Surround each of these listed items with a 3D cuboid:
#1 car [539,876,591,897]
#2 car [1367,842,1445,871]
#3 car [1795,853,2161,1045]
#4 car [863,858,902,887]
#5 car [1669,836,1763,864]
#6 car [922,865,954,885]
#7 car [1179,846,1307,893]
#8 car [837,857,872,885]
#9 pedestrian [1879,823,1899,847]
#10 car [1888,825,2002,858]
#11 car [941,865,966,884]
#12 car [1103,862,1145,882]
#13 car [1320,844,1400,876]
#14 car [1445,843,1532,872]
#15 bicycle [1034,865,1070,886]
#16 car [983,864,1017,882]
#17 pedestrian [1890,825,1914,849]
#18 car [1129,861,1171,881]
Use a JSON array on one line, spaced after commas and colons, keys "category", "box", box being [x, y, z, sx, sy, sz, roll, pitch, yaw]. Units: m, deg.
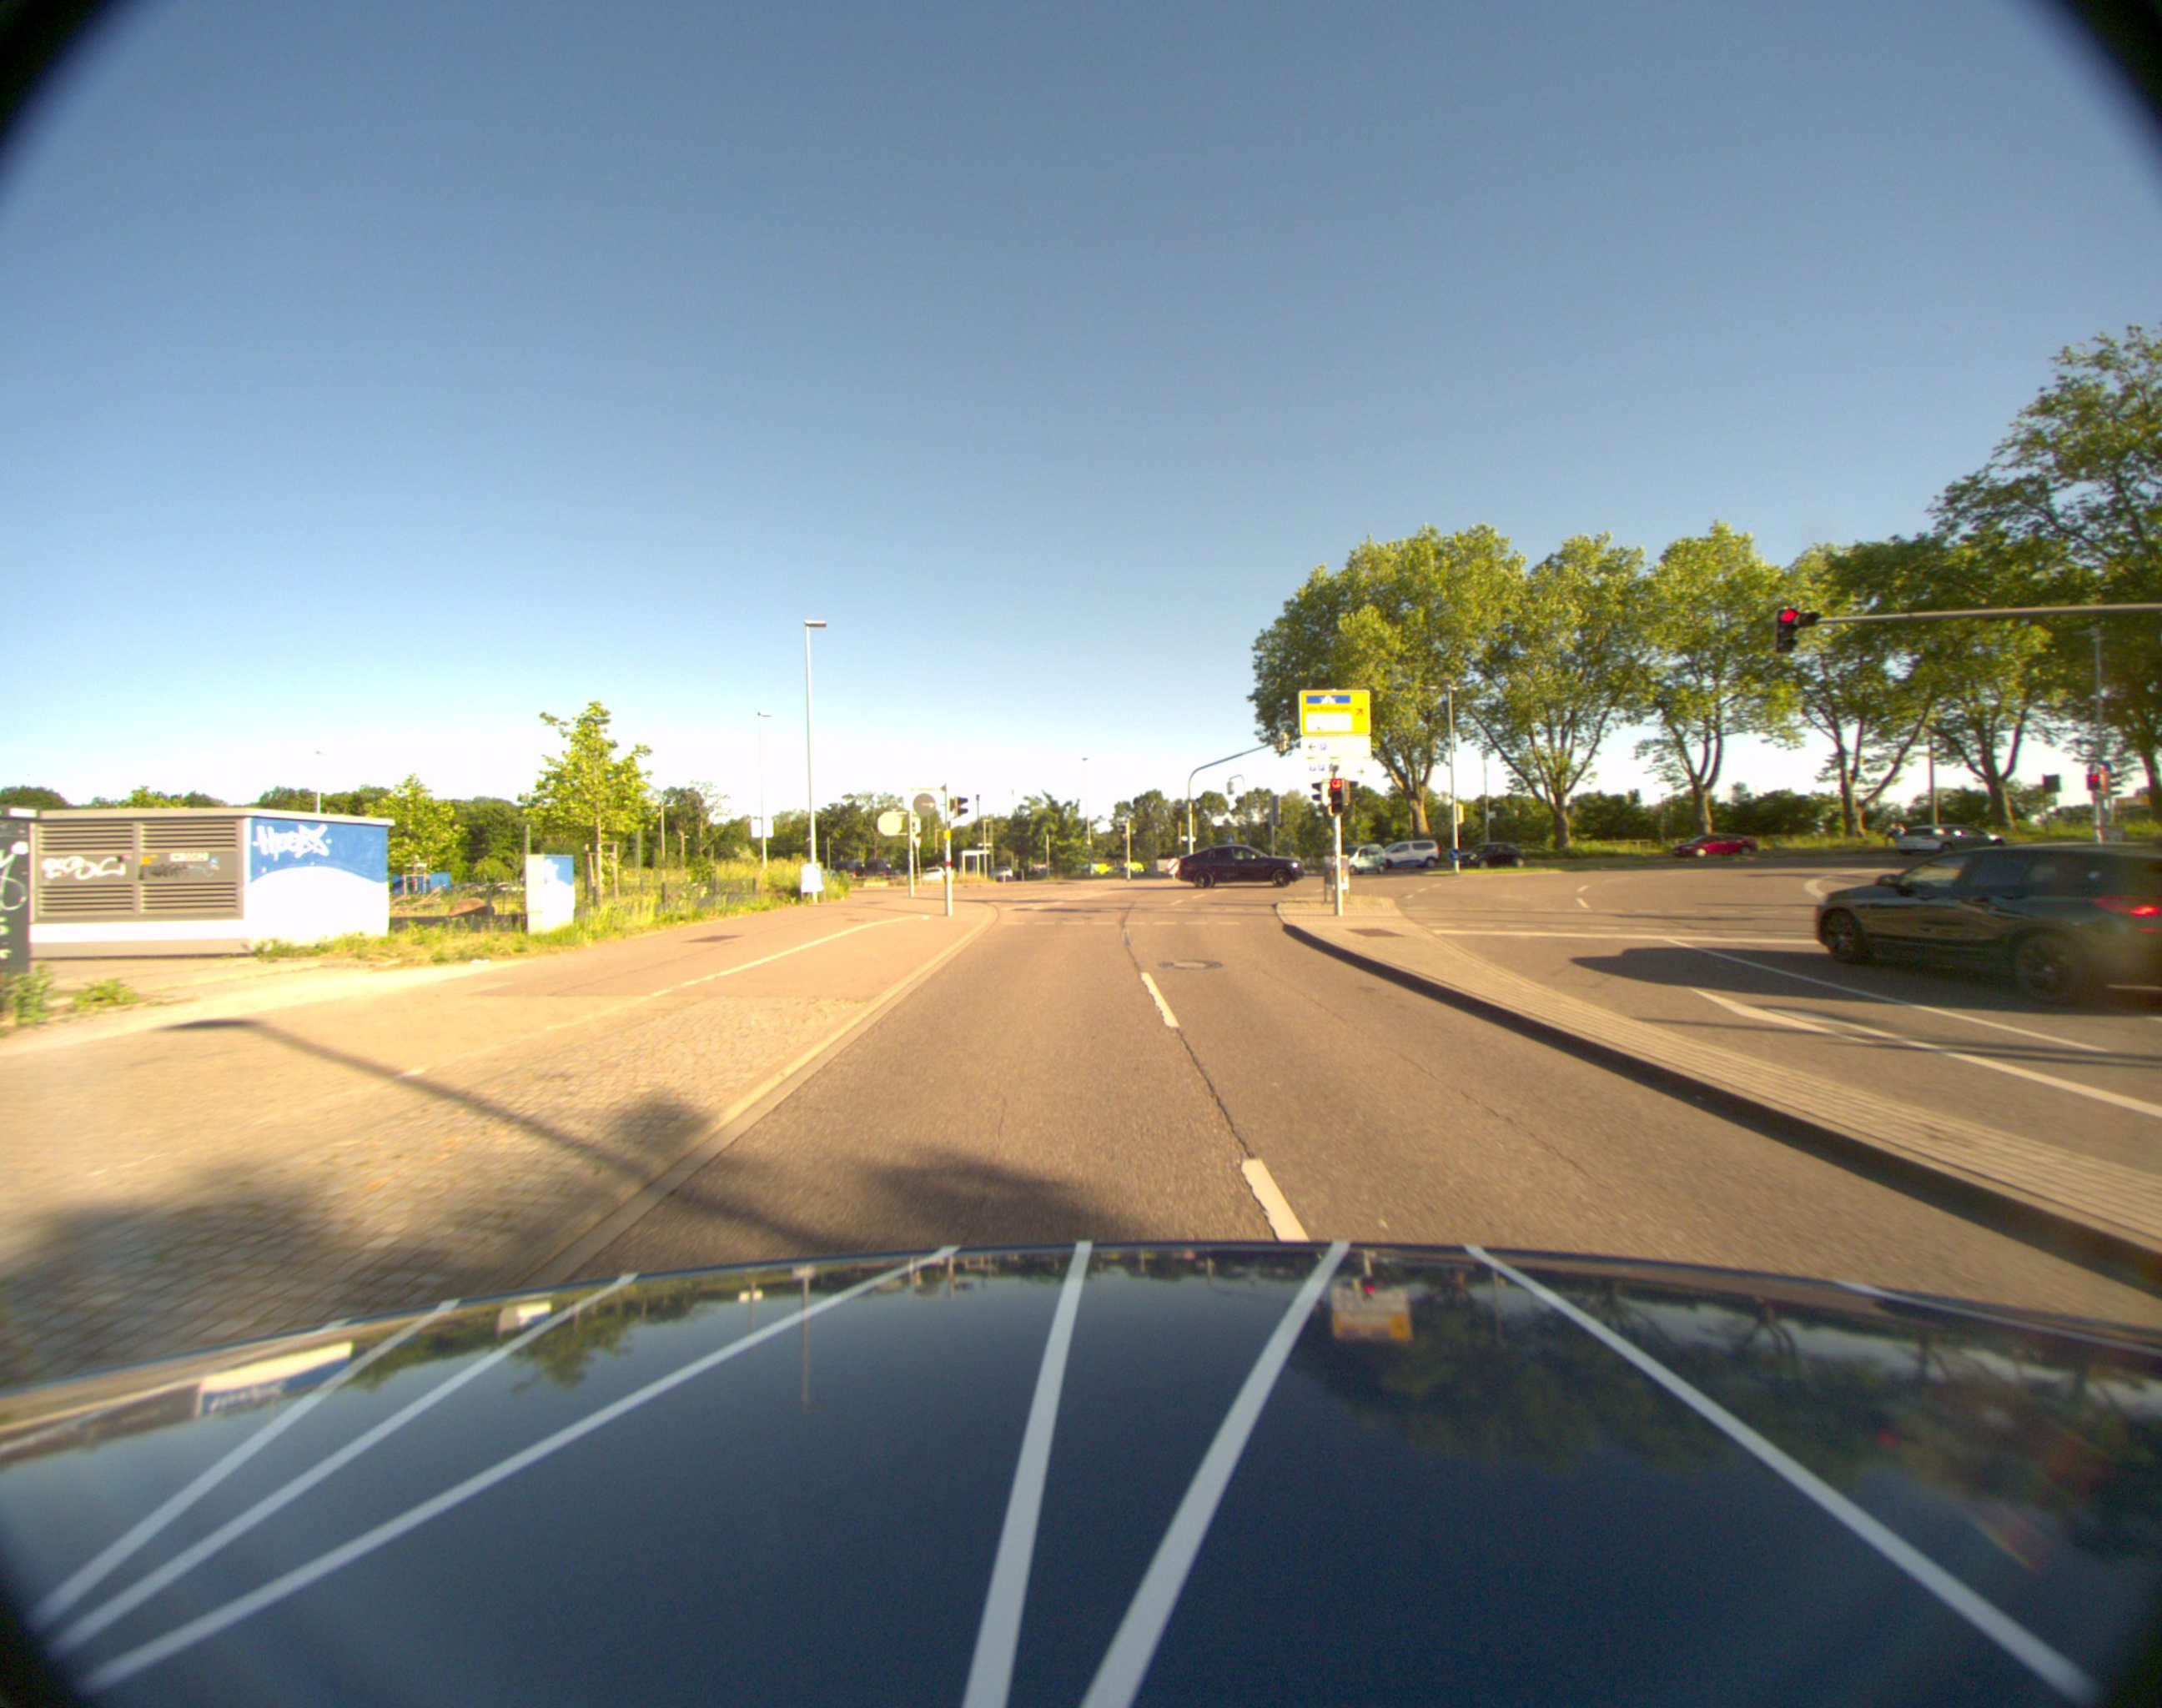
[{"category": "car", "box": [-46.500, 2.920, 68.566, 1.986, 1.580, 4.201, -2, 0, -4]}, {"category": "car", "box": [21.289, 0.179, 49.901, 4.262, 1.733, 1.860, -2, 0, 3]}, {"category": "car", "box": [10.243, 0.774, 8.085, 1.953, 1.509, 4.391, -1, 0, 14]}, {"category": "car", "box": [-18.104, 1.657, 69.724, 2.401, 2.501, 5.511, -2, -1, -4]}, {"category": "car", "box": [40.733, -0.255, 48.856, 4.320, 1.589, 1.860, -2, 0, 5]}, {"category": "car", "box": [-11.198, 1.620, 59.819, 1.890, 1.502, 4.273, -2, -1, -3]}, {"category": "car", "box": [6.478, 0.602, 30.260, 4.741, 1.704, 2.051, -2, 0, 17]}, {"category": "car", "box": [-20.621, 1.546, 69.354, 2.128, 2.452, 4.481, -2, -1, -4]}, {"category": "pedestrian", "box": [55.577, -1.307, 52.253, 0.631, 1.576, 0.666, -2, 0, 3]}, {"category": "car", "box": [42.400, -0.598, 37.318, 3.937, 1.419, 1.974, -2, 1, -11]}, {"category": "car", "box": [-12.710, 1.998, 75.993, 1.986, 1.798, 4.202, -2, 0, -3]}, {"category": "car", "box": [3.688, 1.578, 65.906, 2.016, 1.655, 3.844, -2, -1, -24]}, {"category": "car", "box": [15.462, 0.304, 42.038, 4.127, 1.626, 1.916, -2, 0, -30]}, {"category": "car", "box": [21.827, 0.195, 40.697, 3.940, 1.419, 1.906, -2, 0, -19]}, {"category": "bicycle", "box": [-2.418, 1.781, 63.006, 2.948, 1.606, 0.908, -2, 0, 33]}, {"category": "car", "box": [-8.353, 1.902, 77.954, 2.180, 1.720, 4.484, -2, -1, -23]}, {"category": "pedestrian", "box": [55.286, -1.156, 51.184, 0.803, 1.582, 0.731, -2, 0, 3]}, {"category": "car", "box": [5.991, 1.493, 66.489, 1.843, 1.673, 3.993, -2, -1, -24]}]
